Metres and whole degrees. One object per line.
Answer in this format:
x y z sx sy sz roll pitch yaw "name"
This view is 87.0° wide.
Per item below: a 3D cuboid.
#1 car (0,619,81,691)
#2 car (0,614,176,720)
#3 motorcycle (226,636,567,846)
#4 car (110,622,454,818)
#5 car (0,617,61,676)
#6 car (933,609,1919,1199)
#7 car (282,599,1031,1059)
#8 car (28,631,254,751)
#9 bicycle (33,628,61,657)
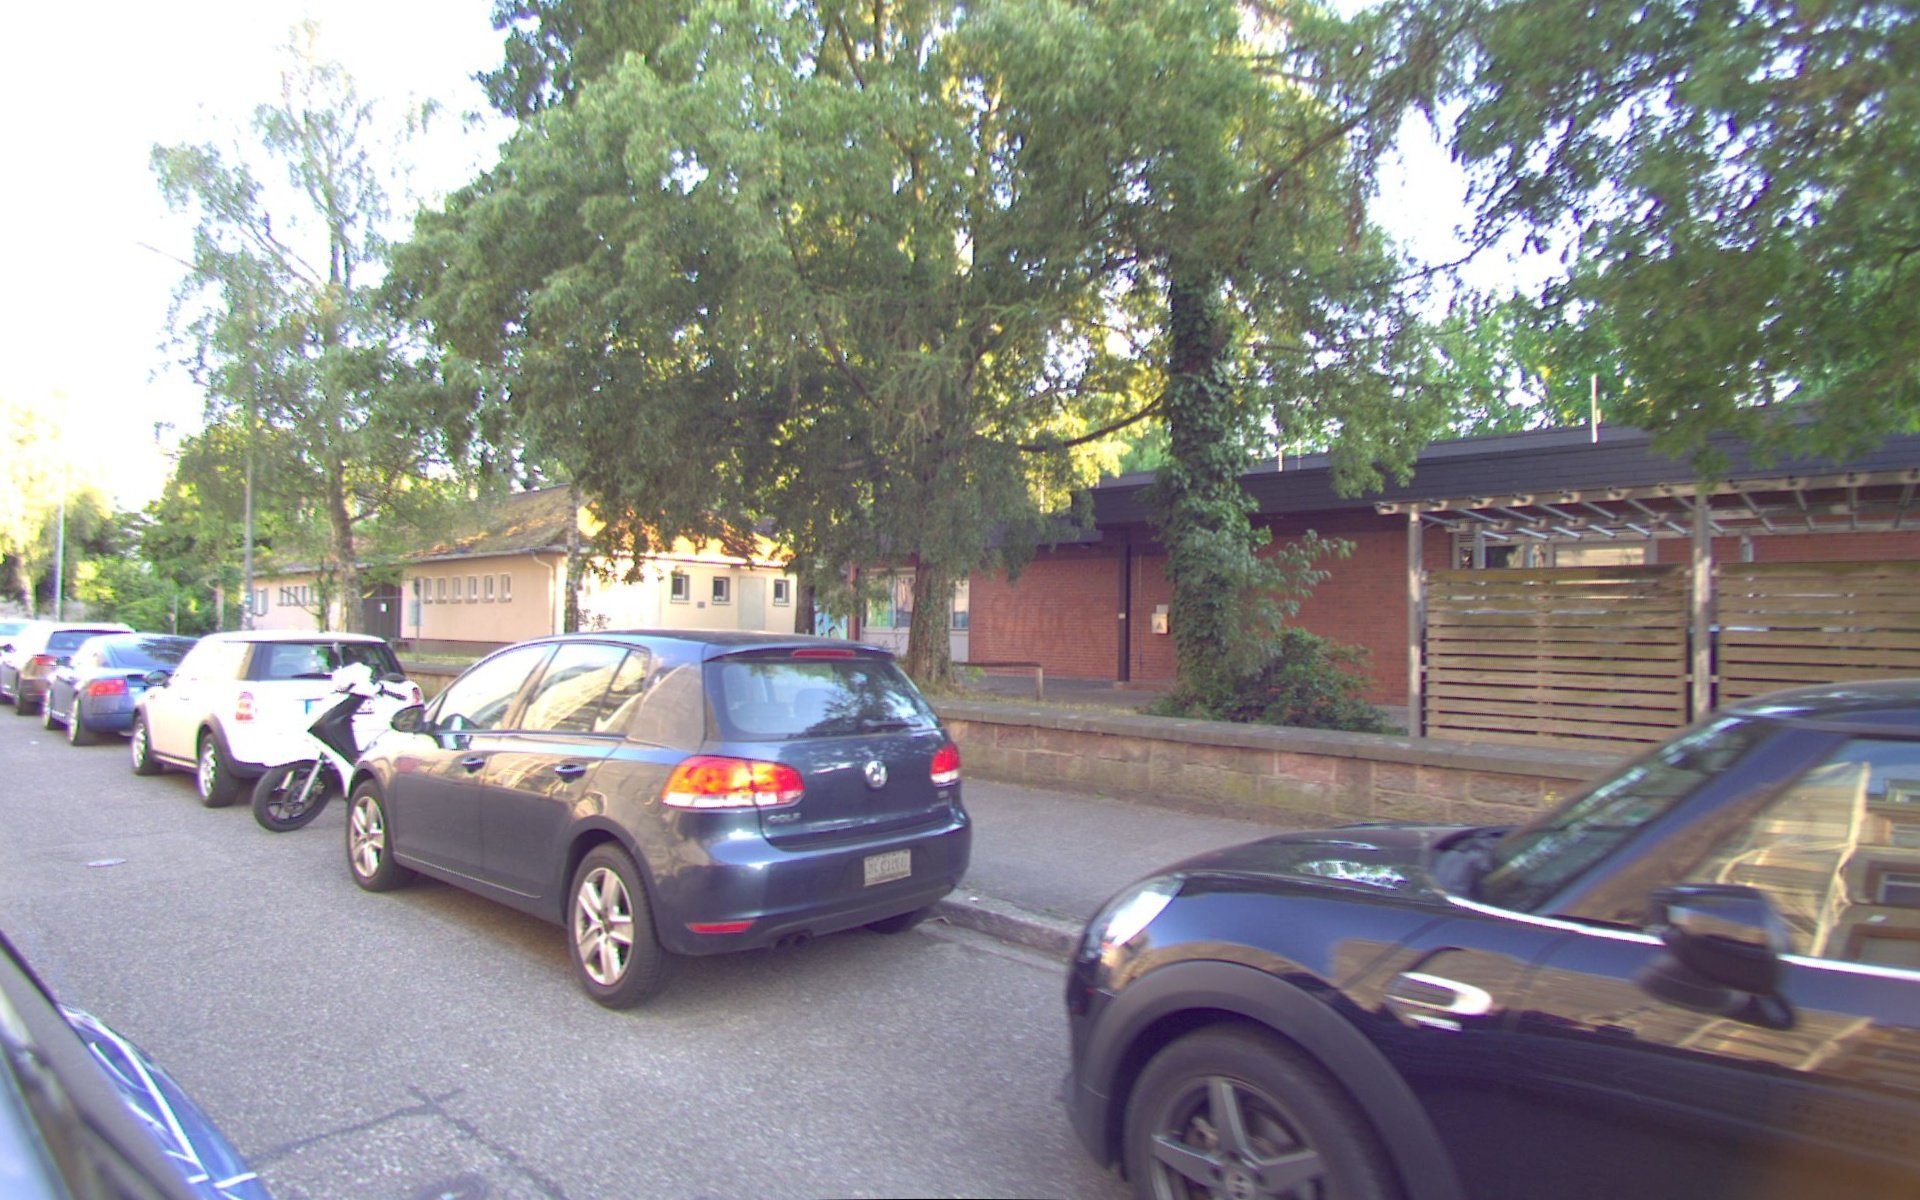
-21.137 1.175 22.436 4.745 1.457 1.764 -1 -5 41 "car"
-14.929 1.045 16.995 4.756 1.549 1.840 -1 -3 41 "car"
-4.170 0.955 7.591 2.135 1.313 0.882 0 -1 -35 "motorcycle"
-6.382 0.974 9.386 3.800 1.442 1.585 -1 -5 40 "car"
-25.279 1.185 26.468 3.995 1.464 1.974 -1 -2 38 "car"
1.957 0.797 1.927 3.992 1.489 1.619 -1 -4 42 "car"
-1.886 0.817 5.406 4.357 1.507 1.698 -1 -3 40 "car"
-10.949 1.111 13.425 4.153 1.323 1.641 -1 -3 42 "car"
-36.116 1.678 40.021 1.953 1.126 0.538 -1 -1 40 "bicycle"
